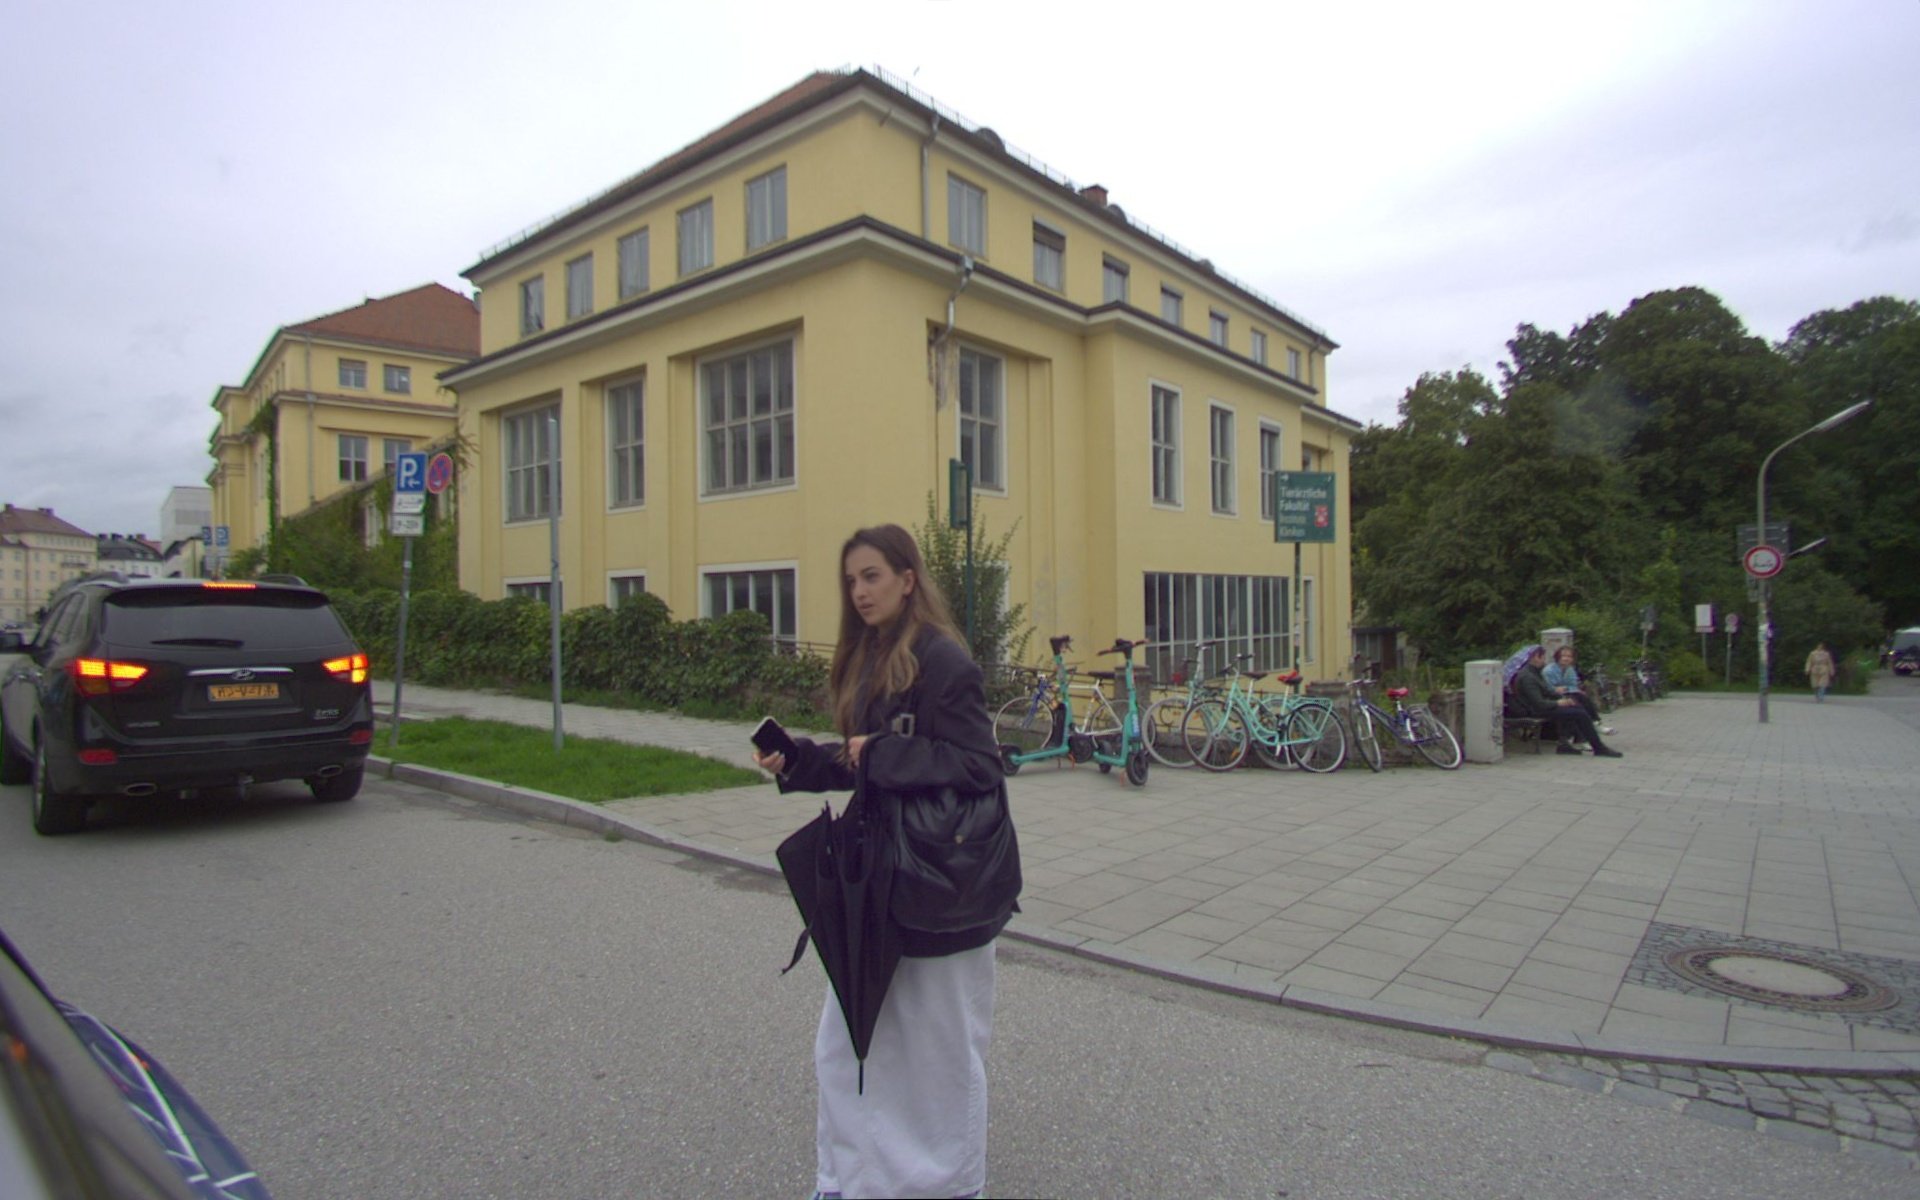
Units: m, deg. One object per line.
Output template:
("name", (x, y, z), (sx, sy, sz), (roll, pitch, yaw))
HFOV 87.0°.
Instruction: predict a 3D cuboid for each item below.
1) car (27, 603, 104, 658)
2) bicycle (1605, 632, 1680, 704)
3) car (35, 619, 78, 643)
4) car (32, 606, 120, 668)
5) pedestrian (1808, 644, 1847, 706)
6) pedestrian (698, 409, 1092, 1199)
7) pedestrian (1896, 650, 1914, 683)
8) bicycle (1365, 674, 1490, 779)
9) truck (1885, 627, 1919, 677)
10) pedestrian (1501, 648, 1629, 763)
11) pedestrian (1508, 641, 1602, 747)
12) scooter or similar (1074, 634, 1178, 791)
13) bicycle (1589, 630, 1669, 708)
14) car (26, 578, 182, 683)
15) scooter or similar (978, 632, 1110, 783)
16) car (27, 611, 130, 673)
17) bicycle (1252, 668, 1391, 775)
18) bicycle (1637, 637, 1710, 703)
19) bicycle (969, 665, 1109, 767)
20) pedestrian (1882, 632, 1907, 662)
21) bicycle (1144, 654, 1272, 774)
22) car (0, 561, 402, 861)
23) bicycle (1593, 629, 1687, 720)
("car", (-32.553, 1.125, 36.876), (1.870, 1.812, 4.887), (6, -5, -41))
("bicycle", (17.514, 1.698, 26.055), (1.046, 1.674, 3.126), (-1, -1, 24))
("car", (-99.177, 3.405, 111.018), (6.892, 2.571, 2.809), (-2, -2, 43))
("car", (-25.370, 1.067, 29.000), (1.681, 1.619, 4.496), (5, -4, -42))
("pedestrian", (25.206, 2.168, 29.420), (0.748, 1.719, 1.098), (-2, -2, 37))
("pedestrian", (-0.121, 0.523, 2.194), (0.663, 1.710, 0.538), (-1, -3, 29))
("pedestrian", (57.810, 4.051, 61.900), (0.696, 2.029, 0.709), (-3, -3, 40))
("bicycle", (4.811, 1.277, 10.404), (1.254, 0.985, 0.416), (1, -2, -24))
("truck", (50.176, 2.607, 51.564), (5.398, 2.480, 2.408), (0, -1, -23))
("pedestrian", (7.352, 1.242, 12.299), (1.263, 1.278, 0.841), (-2, -2, 34))
("pedestrian", (8.121, 1.243, 13.816), (1.030, 1.345, 0.945), (-2, -2, 34))
("scooter or similar", (1.415, 0.931, 8.767), (0.432, 1.221, 1.056), (1, 0, -18))
("bicycle", (15.542, 1.552, 23.608), (1.046, 1.674, 2.979), (-1, -1, 24))
("car", (-18.142, 0.679, 21.383), (4.622, 1.994, 1.904), (-2, -4, 43))
("scooter or similar", (0.774, 0.930, 9.162), (1.244, 1.253, 0.395), (0, 0, -38))
("car", (-22.128, 1.063, 25.347), (1.686, 1.376, 4.005), (6, -6, -43))
("bicycle", (3.557, 1.181, 9.974), (1.254, 0.985, 0.415), (0, -2, -13))
("bicycle", (19.725, 1.891, 28.069), (1.046, 1.674, 3.126), (-1, -1, 24))
("bicycle", (0.786, 1.138, 10.119), (1.321, 0.900, 0.431), (1, 0, 22))
("pedestrian", (64.809, 3.242, 70.181), (1.049, 2.029, 1.135), (-2, -3, 34))
("bicycle", (2.397, 1.087, 9.803), (1.172, 1.119, 0.302), (1, 0, -9))
("car", (-6.377, 0.697, 8.143), (4.614, 1.732, 1.972), (-2, -2, 43))
("bicycle", (13.906, 1.464, 20.813), (1.046, 1.674, 3.126), (-1, -1, 24))
